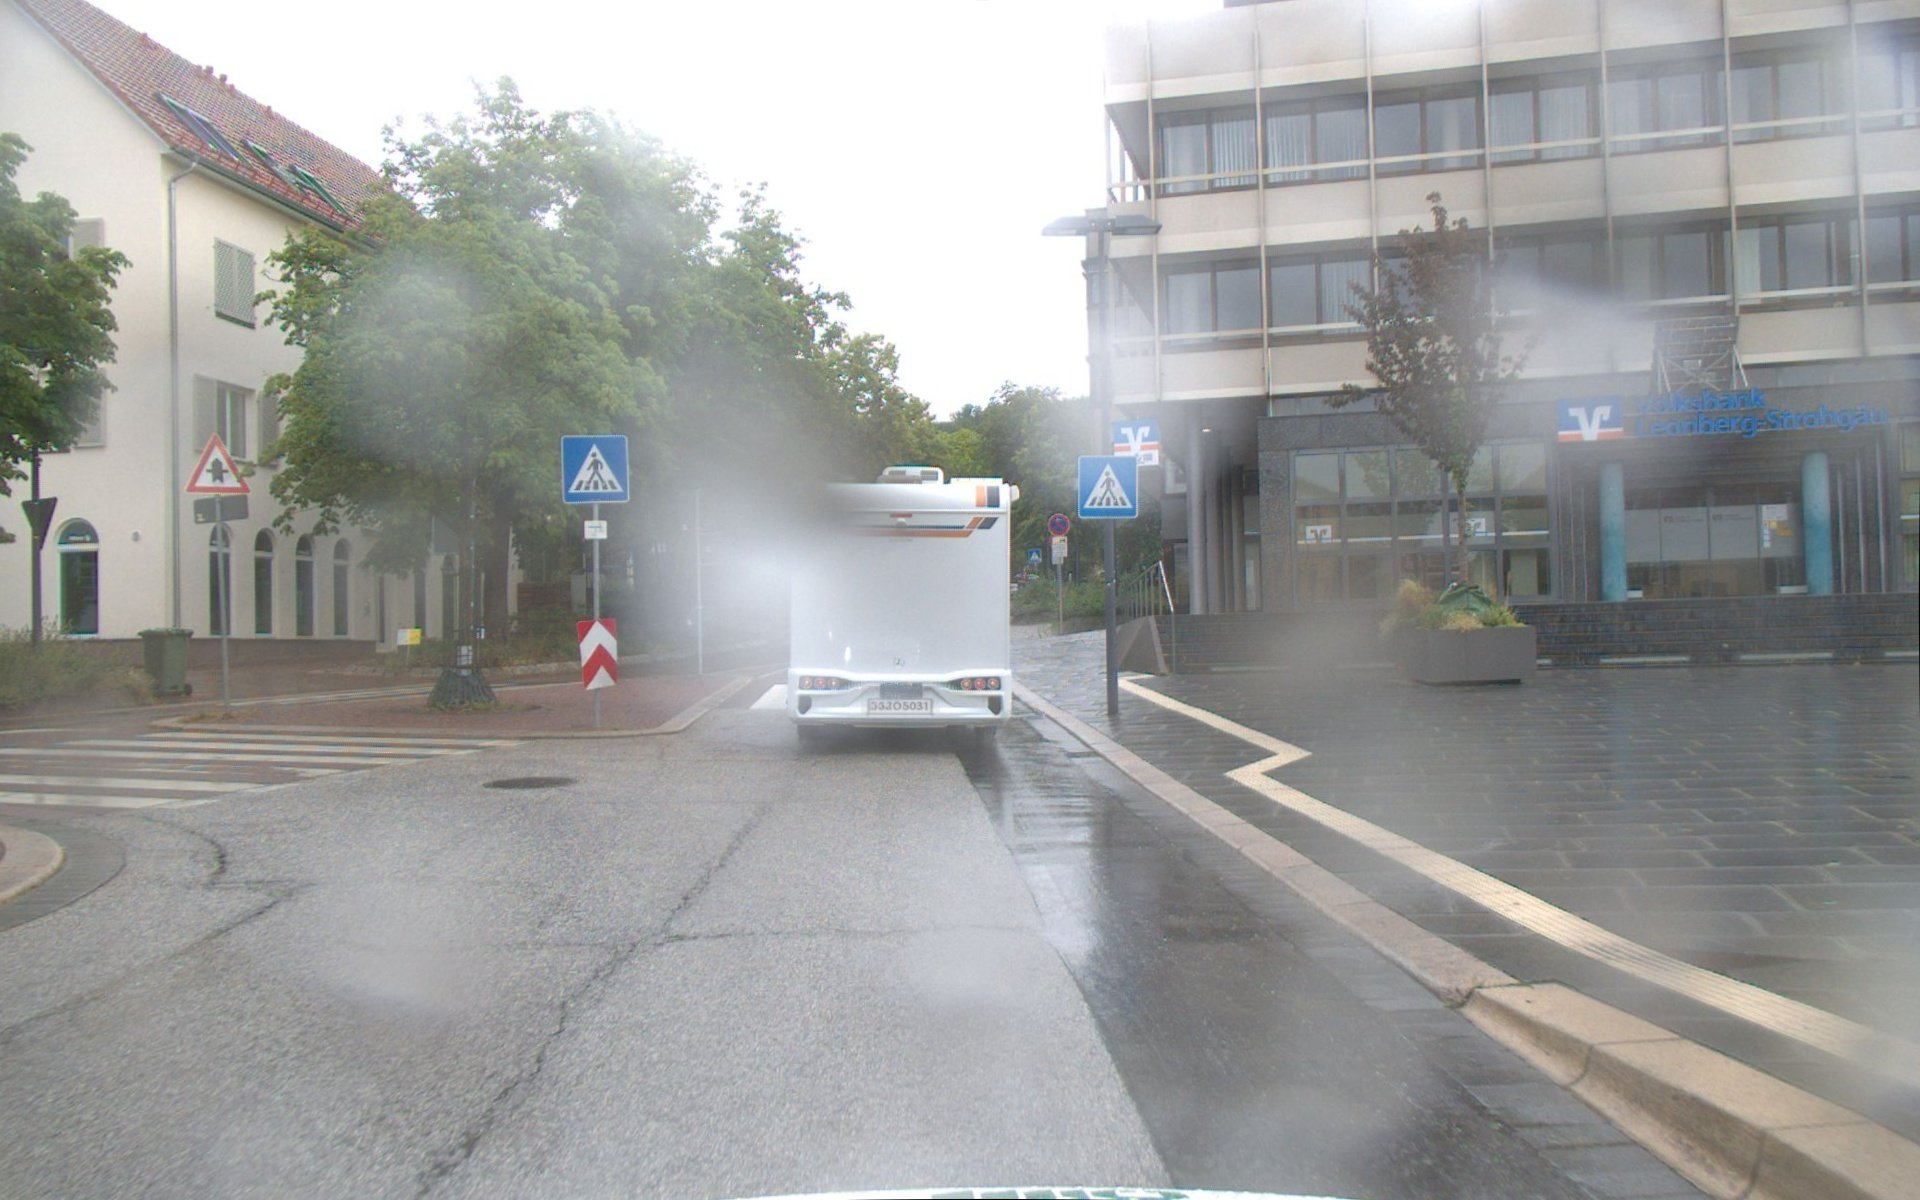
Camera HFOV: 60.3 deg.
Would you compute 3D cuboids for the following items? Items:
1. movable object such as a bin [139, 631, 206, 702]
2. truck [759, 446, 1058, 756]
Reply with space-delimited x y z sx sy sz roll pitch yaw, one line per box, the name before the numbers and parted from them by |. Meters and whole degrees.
movable object such as a bin | -12.605 1.057 26.478 0.621 1.077 0.698 -3 -1 23
truck | -0.595 0.056 18.911 2.749 2.845 6.104 -3 -1 -2
